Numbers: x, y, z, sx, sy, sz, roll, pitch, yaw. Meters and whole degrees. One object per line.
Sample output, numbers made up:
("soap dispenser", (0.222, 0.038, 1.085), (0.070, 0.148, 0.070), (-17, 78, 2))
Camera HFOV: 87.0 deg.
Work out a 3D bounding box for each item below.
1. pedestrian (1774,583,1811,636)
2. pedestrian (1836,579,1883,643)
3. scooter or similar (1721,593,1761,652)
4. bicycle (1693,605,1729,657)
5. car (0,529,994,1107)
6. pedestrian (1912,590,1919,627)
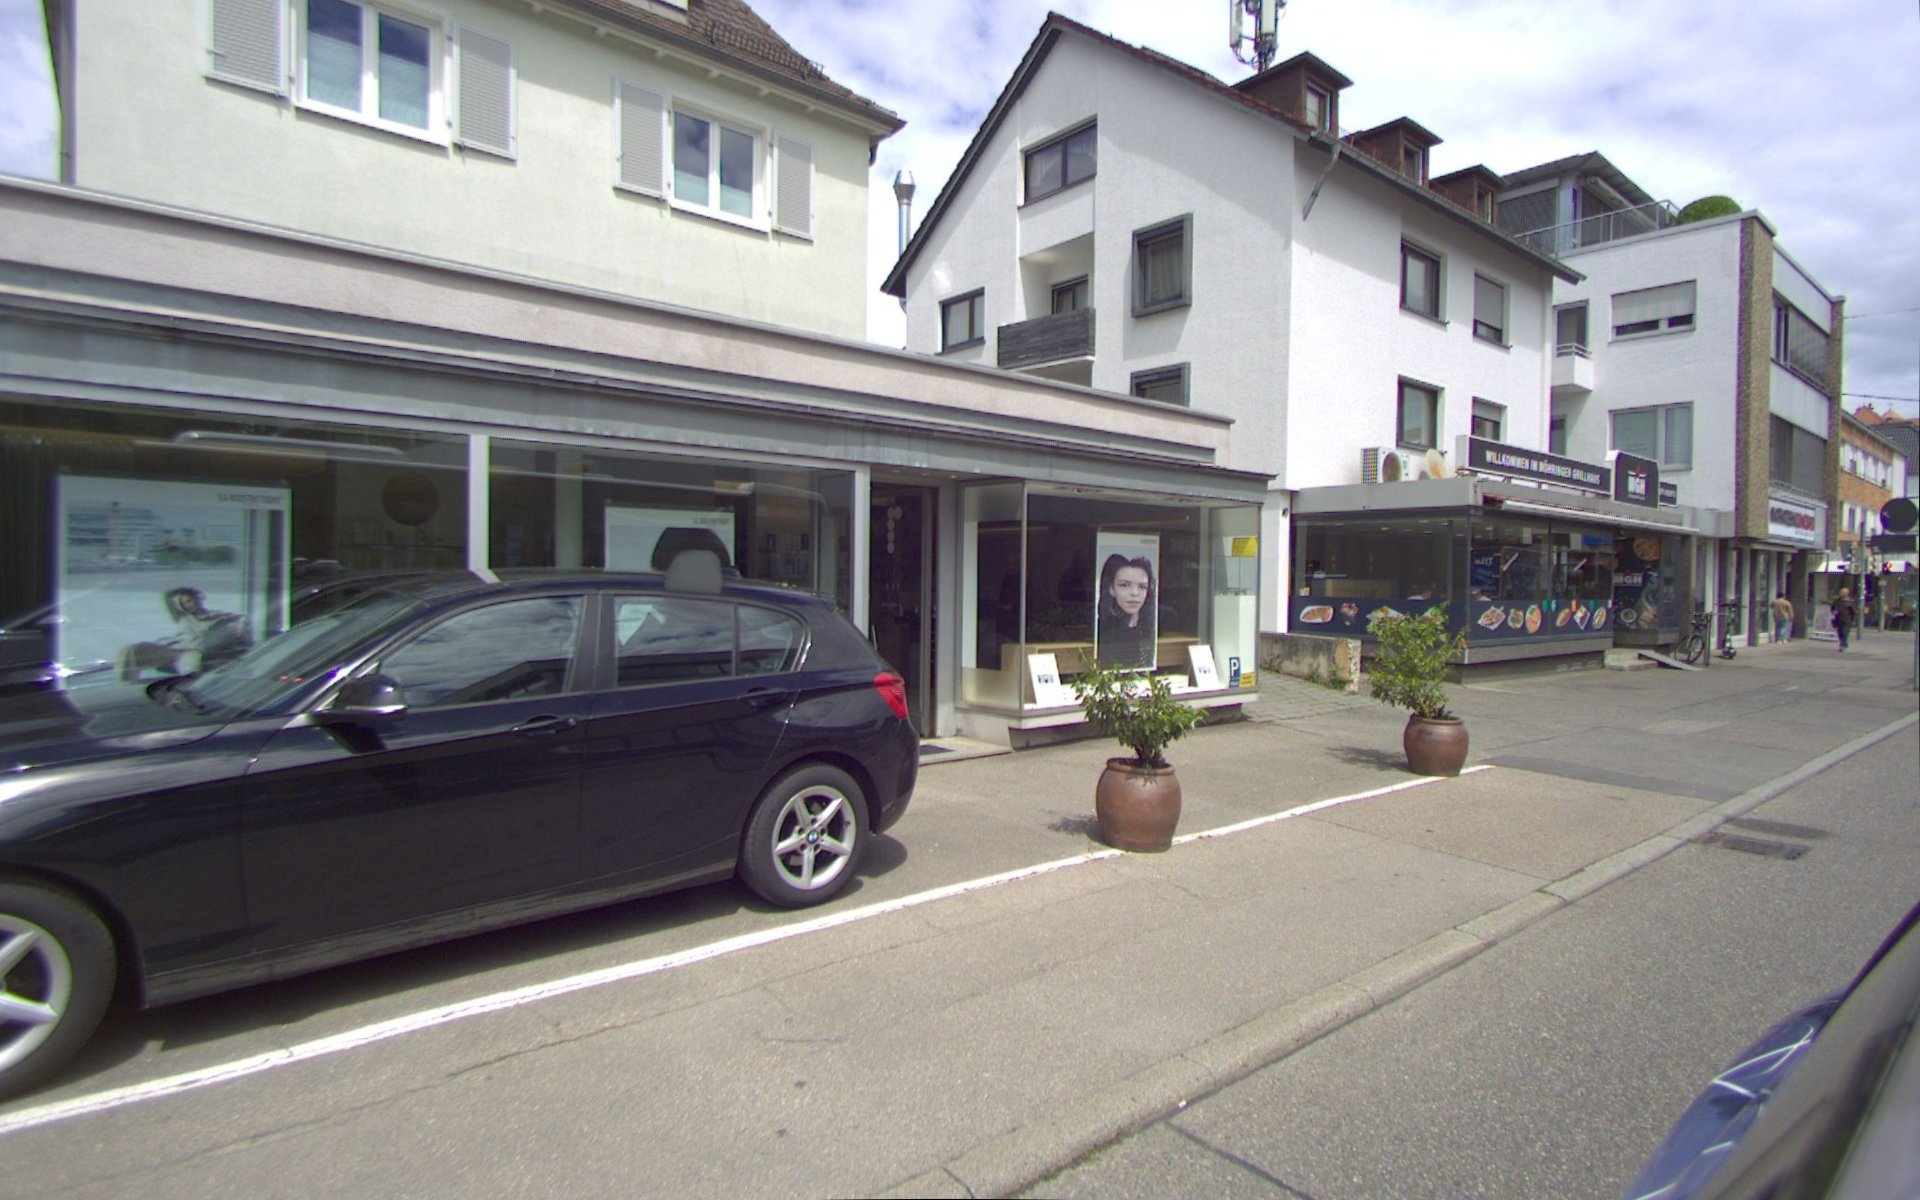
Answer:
("pedestrian", (24.580, 0.276, 29.886), (0.707, 1.517, 0.681), (0, 1, -40))
("pedestrian", (24.516, 0.298, 27.577), (0.793, 1.691, 0.796), (0, 2, -40))
("scooter or similar", (18.131, 0.509, 23.513), (0.686, 1.283, 1.169), (2, 2, 38))
("bicycle", (16.135, 0.643, 21.737), (0.474, 1.040, 1.612), (2, 2, 41))
("car", (-2.157, 0.514, 4.123), (4.457, 1.465, 1.971), (0, 2, -42))
("pedestrian", (40.548, 0.354, 42.416), (0.804, 1.544, 0.779), (0, 1, -38))
